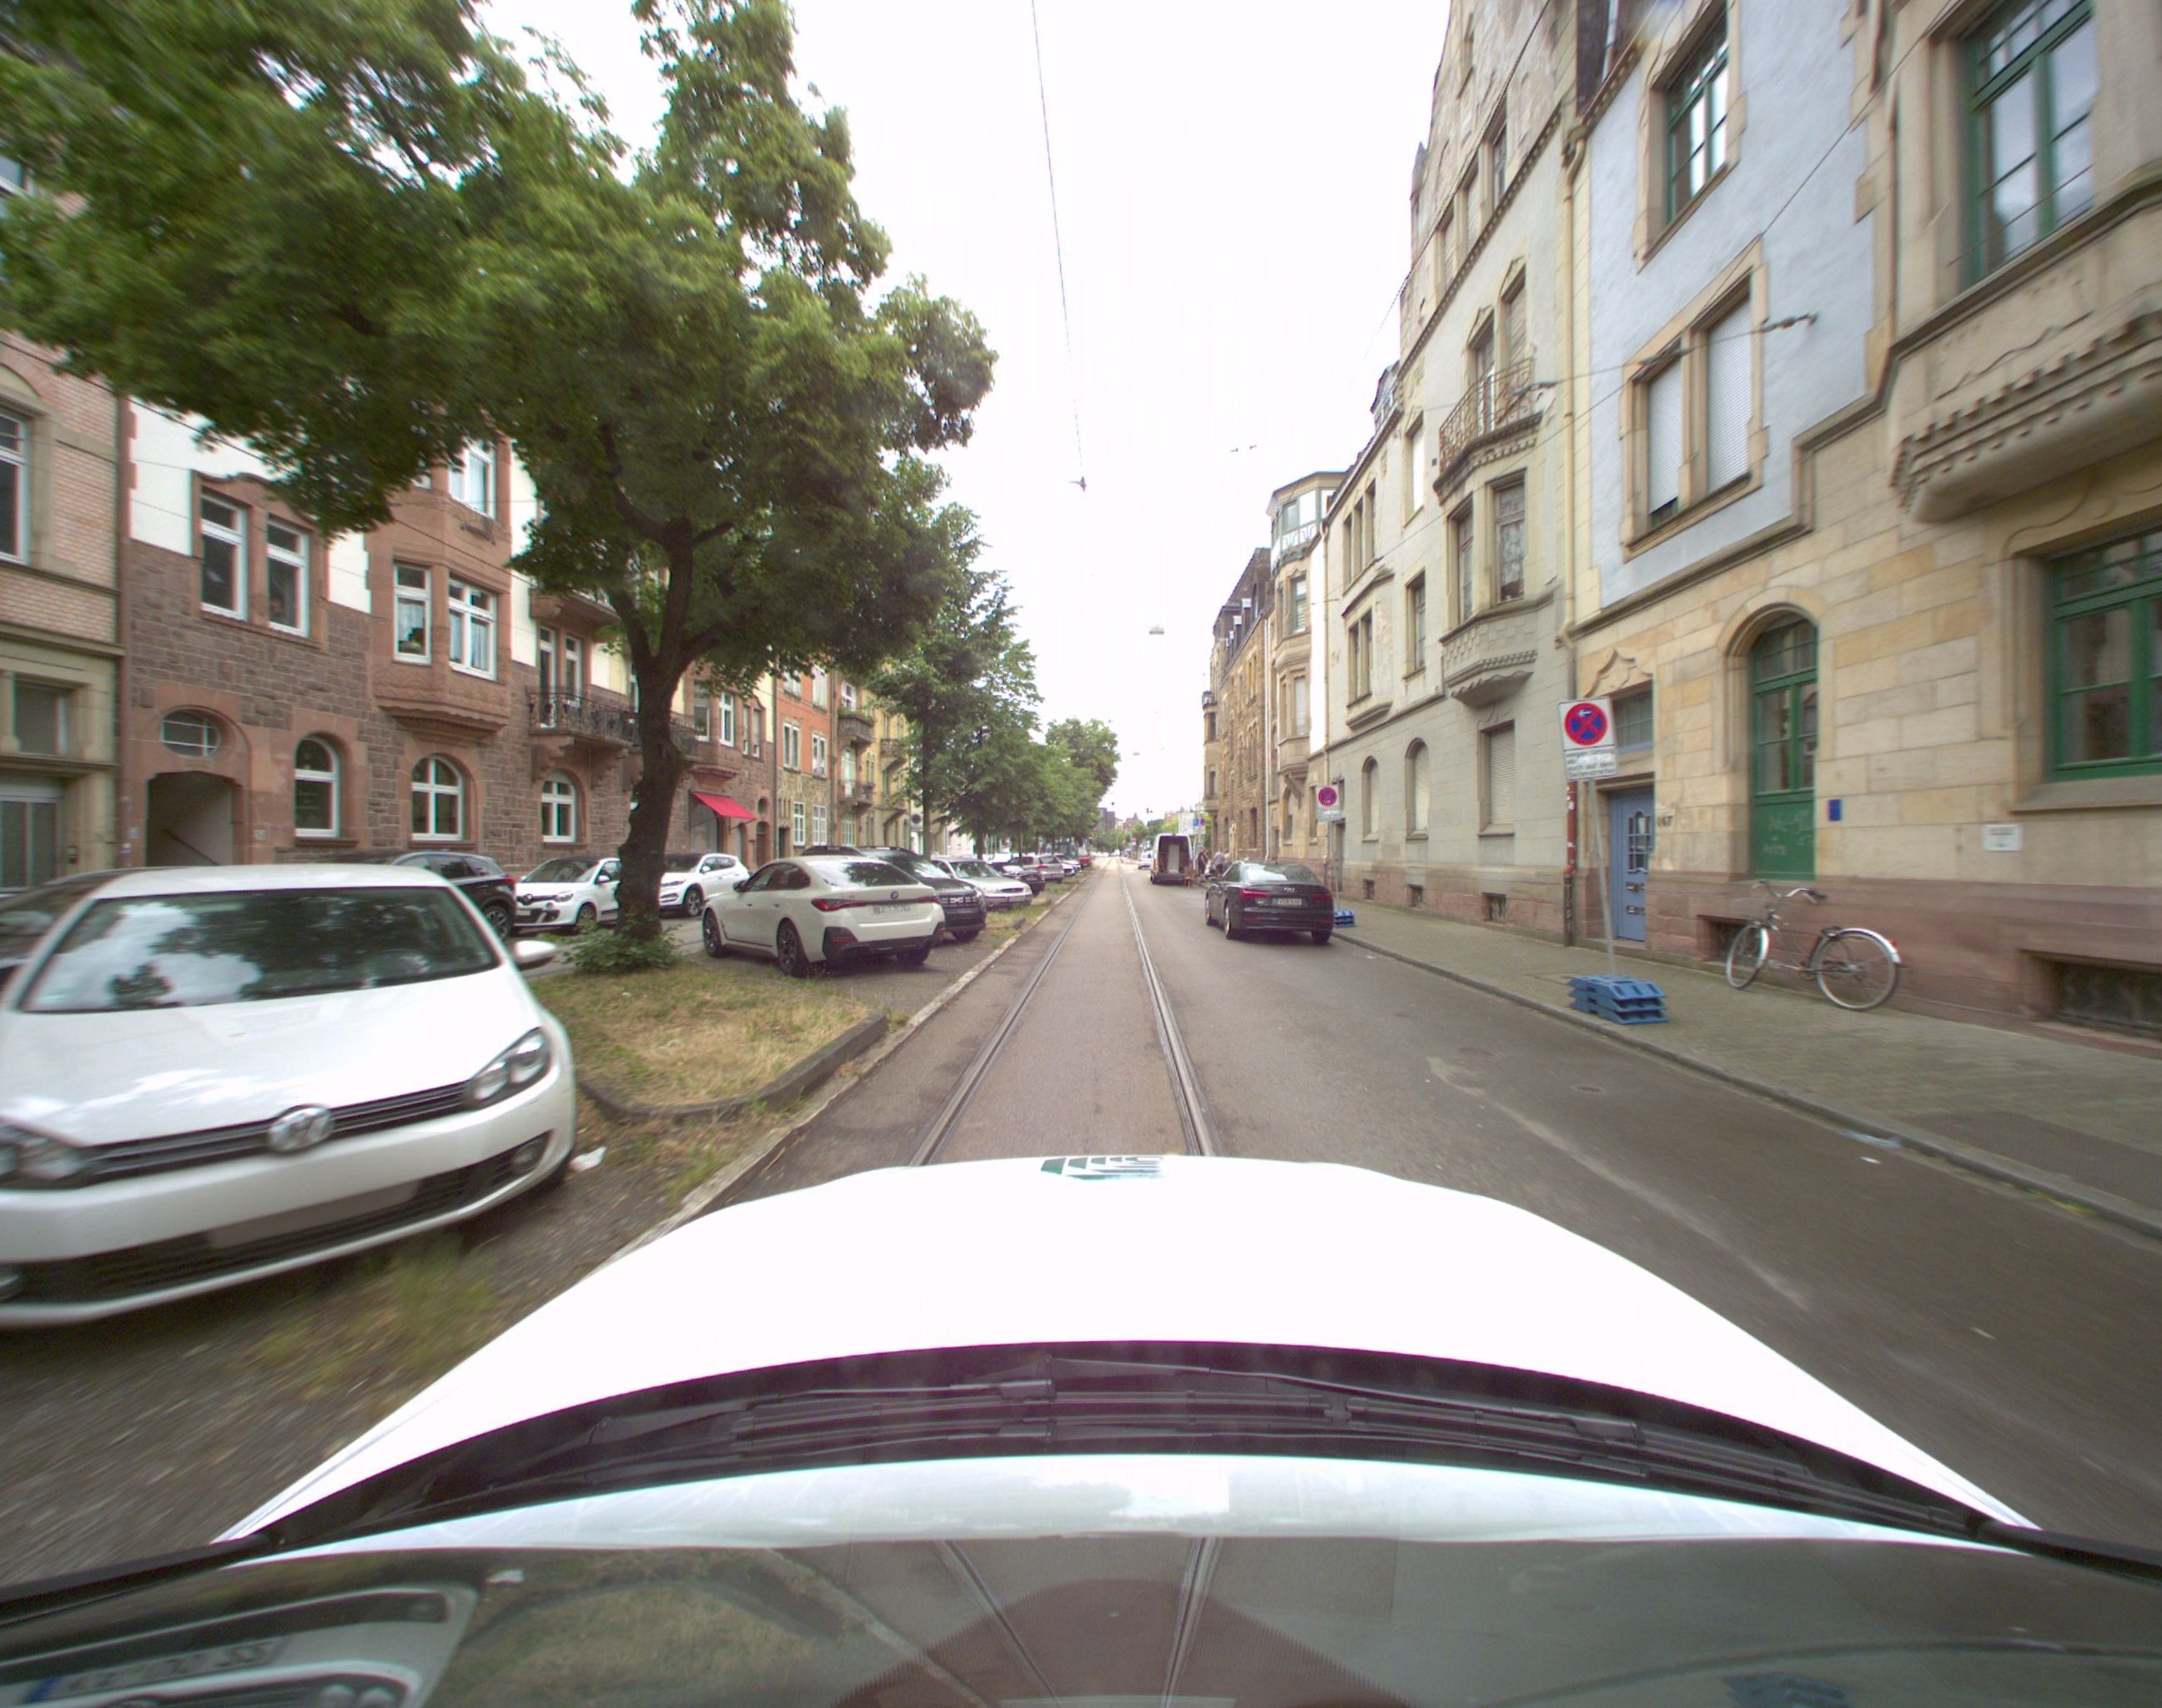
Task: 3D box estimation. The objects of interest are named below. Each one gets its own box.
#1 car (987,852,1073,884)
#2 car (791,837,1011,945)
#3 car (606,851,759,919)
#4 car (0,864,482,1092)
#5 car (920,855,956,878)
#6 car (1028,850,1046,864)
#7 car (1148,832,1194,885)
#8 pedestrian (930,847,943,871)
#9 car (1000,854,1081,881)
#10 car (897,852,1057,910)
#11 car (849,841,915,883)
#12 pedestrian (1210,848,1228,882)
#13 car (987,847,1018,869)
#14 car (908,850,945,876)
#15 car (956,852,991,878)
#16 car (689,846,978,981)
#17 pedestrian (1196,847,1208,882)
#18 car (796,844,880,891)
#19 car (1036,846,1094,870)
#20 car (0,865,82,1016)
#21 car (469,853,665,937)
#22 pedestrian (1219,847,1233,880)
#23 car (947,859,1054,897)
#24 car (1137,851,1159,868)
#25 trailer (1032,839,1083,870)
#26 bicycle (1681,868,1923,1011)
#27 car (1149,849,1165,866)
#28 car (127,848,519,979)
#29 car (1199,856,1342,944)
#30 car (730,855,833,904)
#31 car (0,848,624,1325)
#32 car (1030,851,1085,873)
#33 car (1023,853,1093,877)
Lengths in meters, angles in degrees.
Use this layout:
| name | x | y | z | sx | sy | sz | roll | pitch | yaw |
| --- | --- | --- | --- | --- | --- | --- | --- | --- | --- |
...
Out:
| name | x | y | z | sx | sy | sz | roll | pitch | yaw |
| --- | --- | --- | --- | --- | --- | --- | --- | --- | --- |
| car | -2.455 | 0.631 | 38.911 | 4.066 | 1.484 | 1.808 | 0 | 0 | 43 |
| car | -3.349 | 0.569 | 14.529 | 1.775 | 1.633 | 4.477 | 0 | -1 | -44 |
| car | -10.494 | 0.751 | 21.872 | 1.734 | 1.626 | 4.555 | 0 | 0 | 2 |
| car | -7.863 | 0.830 | 7.043 | 1.798 | 1.453 | 4.654 | 0 | 0 | 2 |
| car | -9.497 | 0.809 | 54.406 | 1.629 | 1.443 | 3.924 | 0 | 0 | 1 |
| car | -4.828 | 0.384 | 89.767 | 1.638 | 1.504 | 3.885 | 0 | 0 | 2 |
| car | 4.705 | 0.212 | 43.511 | 2.004 | 2.549 | 7.022 | 1 | 0 | 3 |
| pedestrian | -11.174 | 0.387 | 62.815 | 0.795 | 1.766 | 0.900 | -1 | 0 | 1 |
| car | -2.352 | 0.736 | 46.667 | 4.629 | 1.435 | 1.910 | 0 | 0 | 42 |
| car | -2.846 | 0.635 | 21.533 | 4.610 | 1.368 | 1.768 | 0 | 0 | 45 |
| car | -9.763 | 0.391 | 40.368 | 1.874 | 1.952 | 5.096 | 0 | 0 | 2 |
| pedestrian | 7.038 | 0.537 | 41.505 | 0.706 | 1.700 | 0.489 | -2 | 0 | -26 |
| car | -5.952 | 0.301 | 62.316 | 1.798 | 1.579 | 4.548 | 0 | 0 | 2 |
| car | -9.552 | 0.559 | 50.522 | 1.629 | 1.550 | 2.951 | 0 | 0 | 1 |
| car | -6.355 | 0.631 | 48.275 | 1.598 | 1.514 | 2.893 | 0 | 0 | 2 |
| car | -3.607 | 0.673 | 11.343 | 2.047 | 1.490 | 4.486 | 0 | -1 | -44 |
| pedestrian | 6.293 | 0.530 | 42.272 | 0.496 | 1.815 | 0.804 | -2 | 0 | 4 |
| car | -9.940 | 0.524 | 33.762 | 1.807 | 1.781 | 5.119 | 0 | 0 | 2 |
| car | -1.324 | 0.337 | 67.758 | 4.707 | 1.974 | 1.972 | 0 | 0 | 41 |
| car | -11.254 | 0.820 | 6.278 | 1.798 | 1.438 | 4.232 | 0 | 0 | 2 |
| car | -10.611 | 0.781 | 17.166 | 1.655 | 1.559 | 3.724 | 0 | 0 | 2 |
| pedestrian | 7.550 | 0.490 | 42.322 | 0.507 | 1.717 | 0.579 | -2 | 0 | -8 |
| car | -2.870 | 0.792 | 28.538 | 1.678 | 1.202 | 3.914 | 0 | 0 | -44 |
| car | 6.092 | 0.451 | 74.001 | 1.773 | 1.472 | 4.018 | 0 | 0 | 7 |
| trailer | -1.896 | 0.050 | 64.777 | 3.624 | 2.344 | 1.943 | 0 | 0 | 35 |
| bicycle | 6.722 | 0.731 | 7.754 | 0.609 | 1.126 | 1.917 | 3 | 0 | 2 |
| car | 9.133 | 0.414 | 98.370 | 1.774 | 1.962 | 4.387 | 0 | 0 | 4 |
| car | -10.925 | 0.754 | 12.293 | 1.762 | 1.628 | 4.322 | 0 | 0 | 2 |
| car | 3.545 | 0.773 | 16.215 | 1.794 | 1.438 | 5.198 | 0 | 0 | 2 |
| car | -10.221 | 0.824 | 28.167 | 1.734 | 1.542 | 4.555 | 0 | 0 | 2 |
| car | -3.958 | 0.642 | 4.180 | 1.874 | 1.312 | 4.080 | 1 | 0 | -43 |
| car | -1.672 | 0.522 | 56.788 | 3.815 | 1.463 | 1.699 | 0 | 0 | 44 |
| car | -1.464 | 0.643 | 50.351 | 4.286 | 1.435 | 1.910 | 0 | 0 | 44 |
